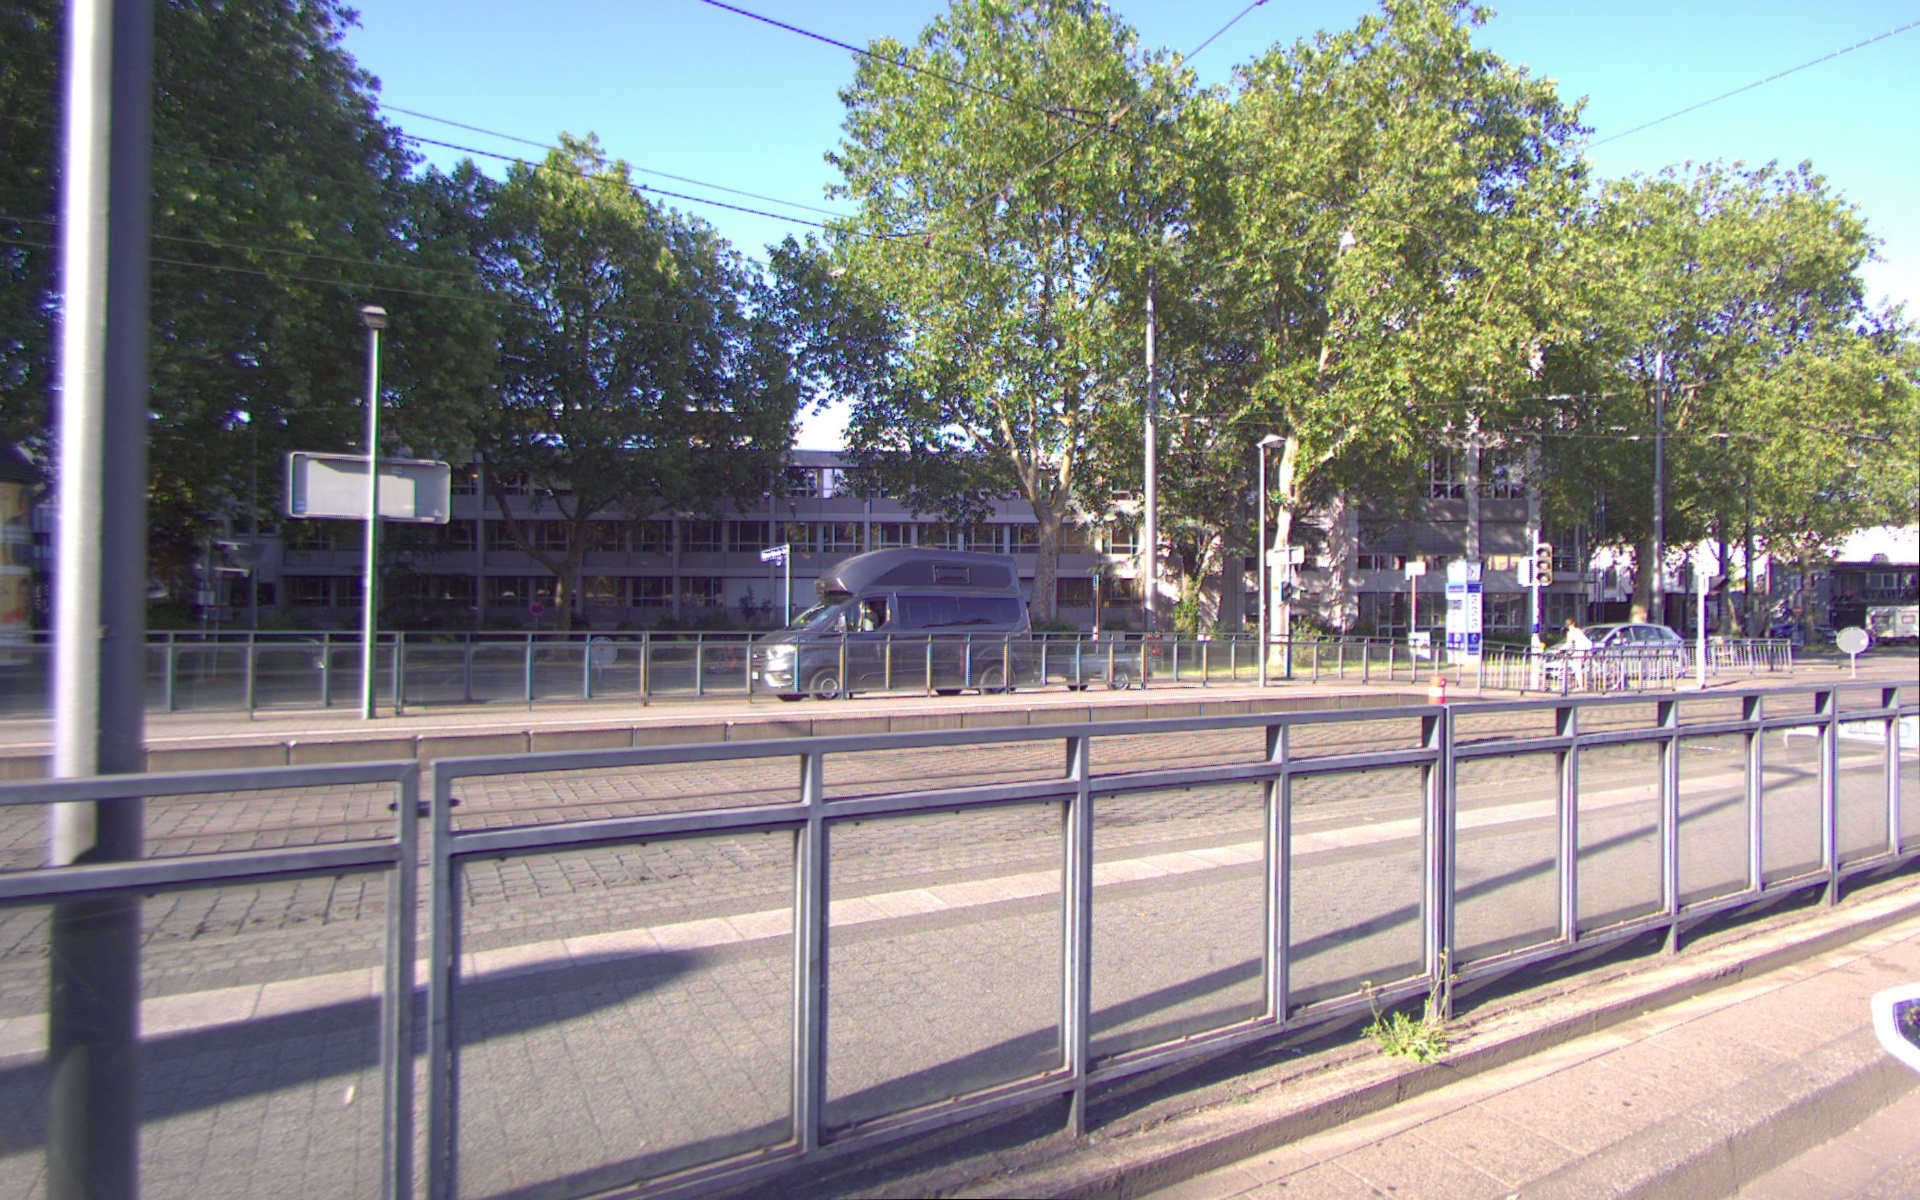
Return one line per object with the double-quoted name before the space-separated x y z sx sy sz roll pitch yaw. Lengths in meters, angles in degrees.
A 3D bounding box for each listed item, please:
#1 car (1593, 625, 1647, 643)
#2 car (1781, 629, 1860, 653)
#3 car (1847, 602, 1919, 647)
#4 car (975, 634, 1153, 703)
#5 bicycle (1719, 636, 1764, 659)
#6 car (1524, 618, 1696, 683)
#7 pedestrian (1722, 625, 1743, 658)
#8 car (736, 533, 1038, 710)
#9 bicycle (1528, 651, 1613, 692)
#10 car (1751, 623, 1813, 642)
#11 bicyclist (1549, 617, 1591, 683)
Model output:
"car" 58.542 3.008 89.182 1.767 1.530 3.994 1 0 -8
"car" 59.916 2.839 69.998 1.767 1.530 3.994 1 0 -8
"car" 69.023 1.787 73.581 6.413 3.207 2.501 1 -1 -7
"car" 2.079 1.340 20.146 2.881 1.178 2.056 2 -1 -32
"bicycle" 40.794 2.463 52.443 0.494 1.122 1.788 1 -1 -27
"car" 18.586 1.434 28.776 4.089 1.715 1.816 1 0 -14
"pedestrian" 40.265 2.173 52.332 0.642 1.683 0.646 1 0 -27
"car" -1.239 0.414 18.018 4.976 2.779 2.055 2 0 -33
"bicycle" 13.637 1.596 22.478 1.587 0.827 0.526 0 -1 30
"car" 68.717 2.702 84.024 3.925 1.530 1.798 1 -1 -6
"bicyclist" 13.645 1.104 22.481 0.788 1.433 0.526 0 0 29
